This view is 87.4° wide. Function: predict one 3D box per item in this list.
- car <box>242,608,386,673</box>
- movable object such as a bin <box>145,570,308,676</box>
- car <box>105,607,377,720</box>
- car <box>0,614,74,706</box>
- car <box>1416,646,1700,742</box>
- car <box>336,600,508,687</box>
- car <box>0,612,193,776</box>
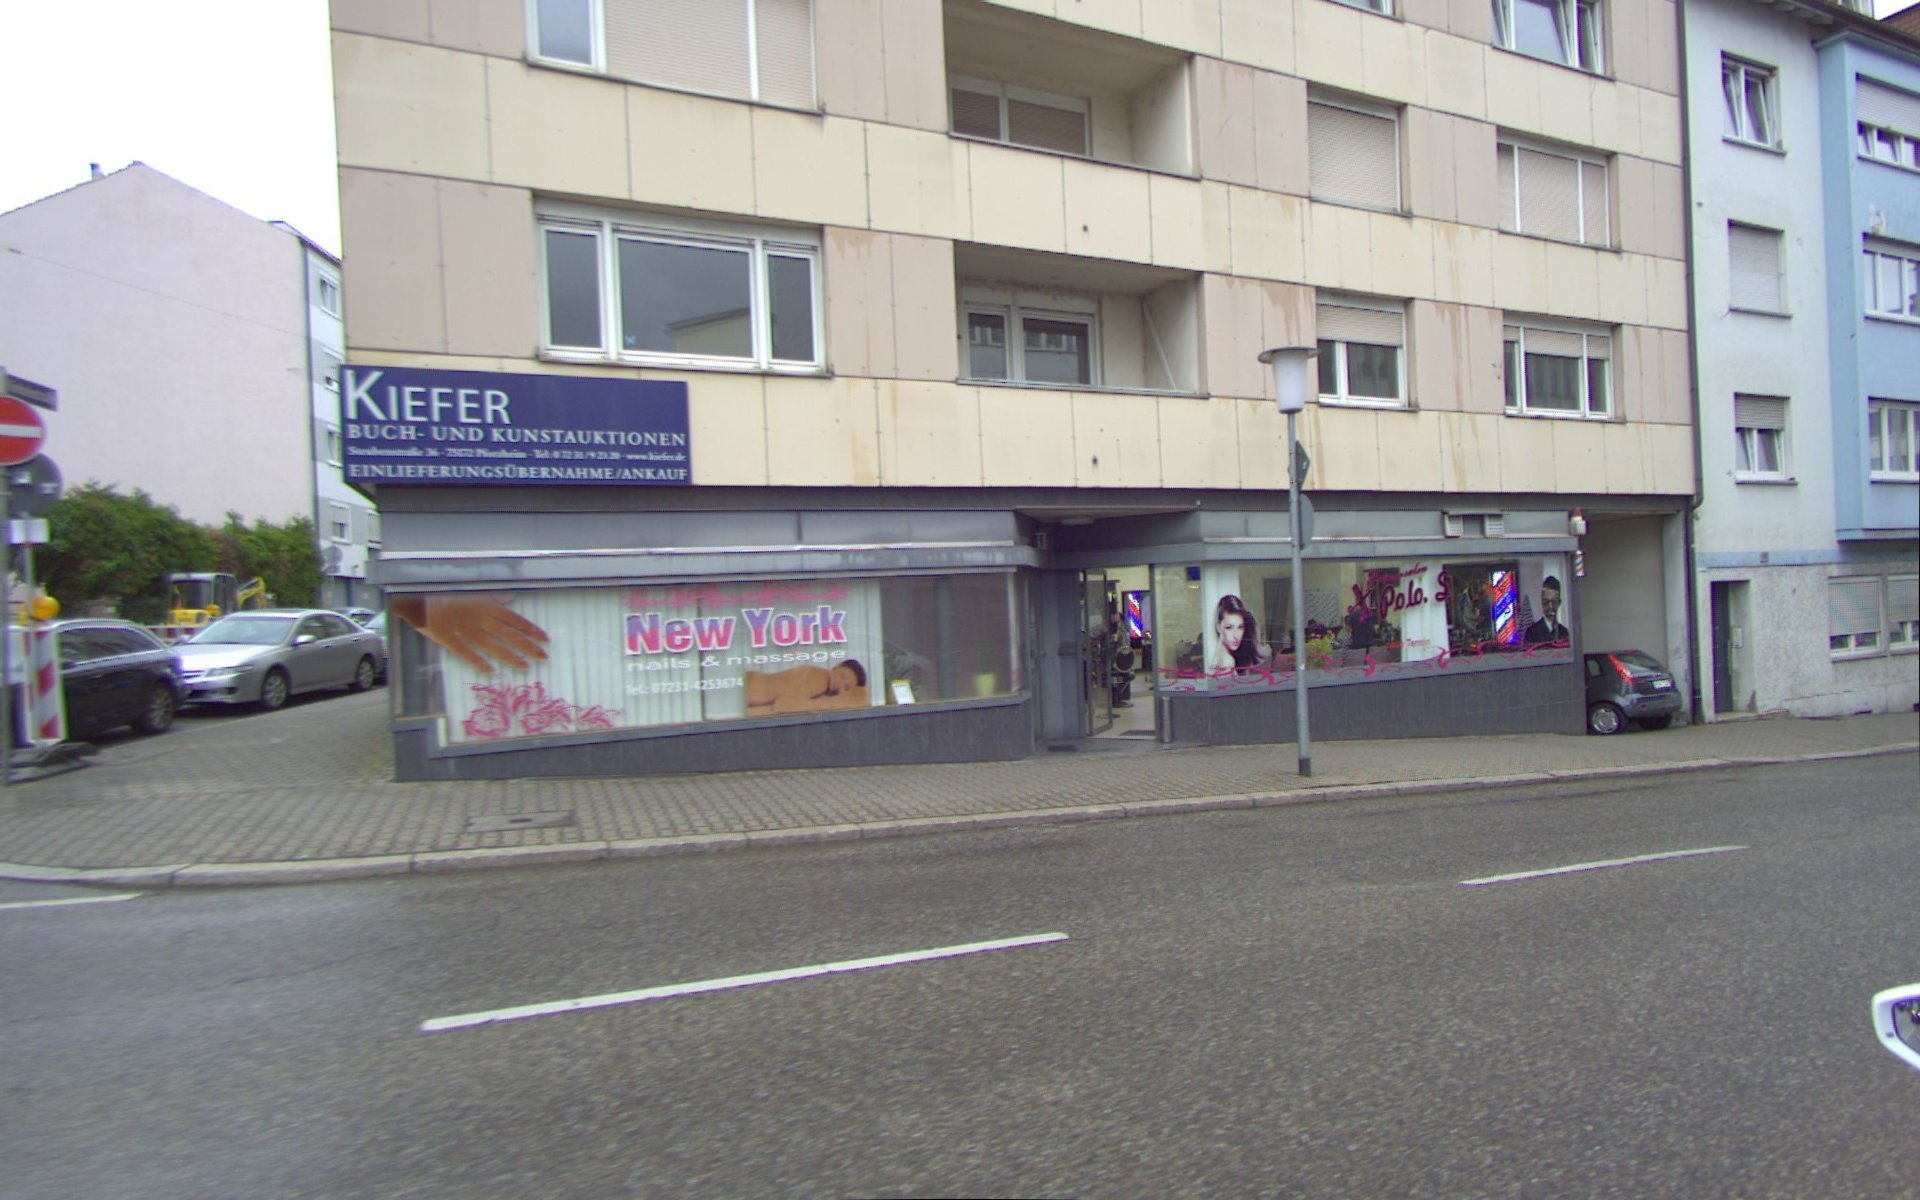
[{"bbox_3d":[-16.919,1.012,26.532,1.722,1.486,3.992,-2,0,-10],"label":"car"},{"bbox_3d":[-18.808,0.542,25.997,1.722,2.466,3.992,-2,0,-10],"label":"movable object such as a bin"},{"bbox_3d":[-10.962,0.878,15.719,1.721,1.486,3.995,0,0,-7],"label":"car"},{"bbox_3d":[-16.584,1.029,16.123,1.720,1.486,3.511,-2,0,-4],"label":"car"},{"bbox_3d":[10.548,1.745,18.028,1.659,1.366,3.973,-1,-7,-30],"label":"car"},{"bbox_3d":[-10.875,0.817,20.625,1.721,1.604,3.996,0,0,-6],"label":"car"},{"bbox_3d":[-10.314,0.920,10.716,1.723,1.524,4.354,0,0,-13],"label":"car"}]
